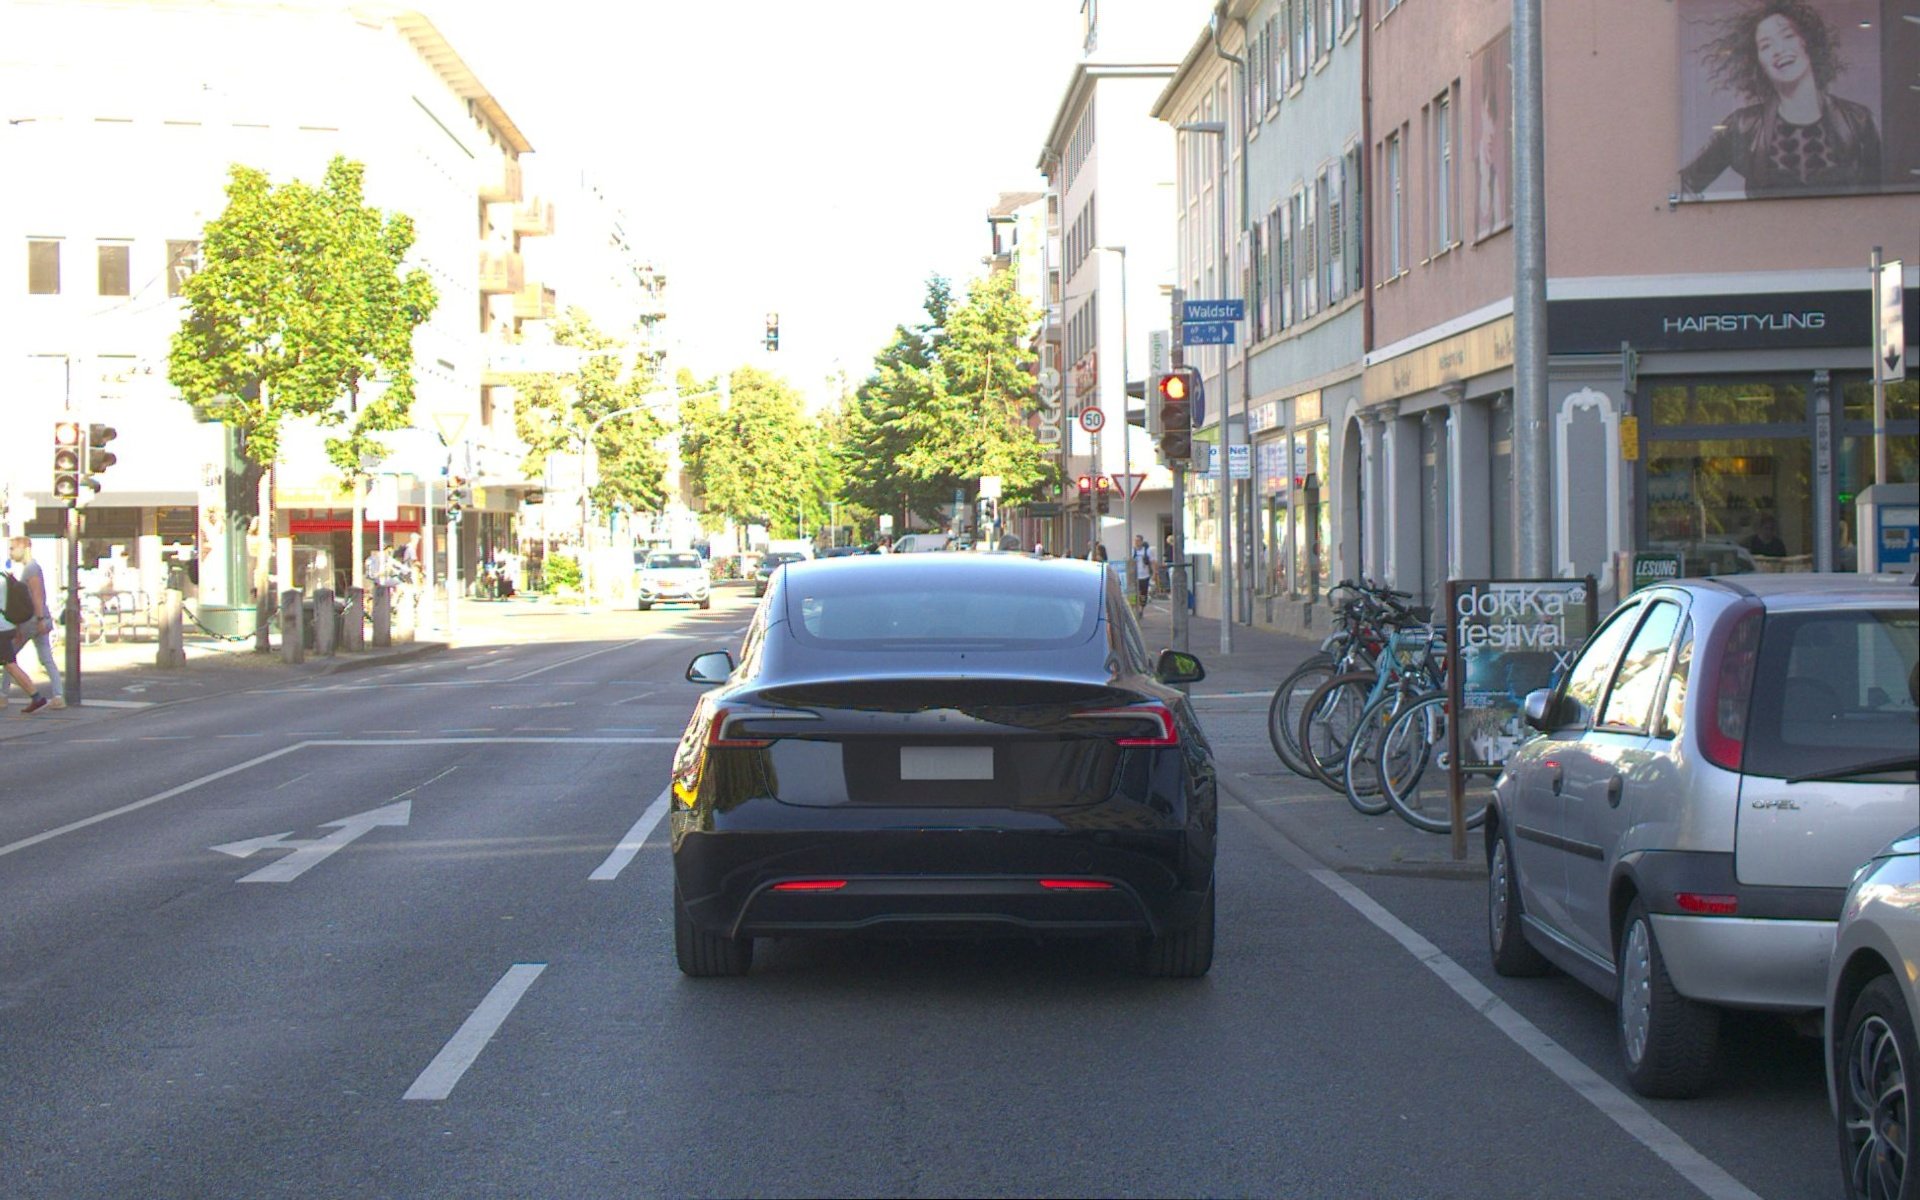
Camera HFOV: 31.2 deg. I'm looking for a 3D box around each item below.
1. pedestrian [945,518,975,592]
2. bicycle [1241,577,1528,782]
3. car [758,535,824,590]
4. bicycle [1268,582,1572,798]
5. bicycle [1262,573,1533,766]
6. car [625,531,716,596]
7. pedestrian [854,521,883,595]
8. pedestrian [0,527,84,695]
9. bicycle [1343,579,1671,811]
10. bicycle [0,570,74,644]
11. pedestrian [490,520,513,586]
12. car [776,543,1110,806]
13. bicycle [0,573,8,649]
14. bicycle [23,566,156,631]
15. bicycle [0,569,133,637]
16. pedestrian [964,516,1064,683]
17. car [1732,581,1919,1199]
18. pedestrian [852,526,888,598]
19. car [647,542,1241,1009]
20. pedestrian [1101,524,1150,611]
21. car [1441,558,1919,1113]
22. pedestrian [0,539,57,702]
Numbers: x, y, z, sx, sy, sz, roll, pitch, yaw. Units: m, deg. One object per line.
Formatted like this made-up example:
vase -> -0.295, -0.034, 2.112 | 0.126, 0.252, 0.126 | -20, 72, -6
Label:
pedestrian -> 0.006, -1.227, 93.164 | 0.627, 2.007, 0.558 | 1, 1, 24
bicycle -> 2.533, 0.468, 20.594 | 1.627, 1.156, 0.433 | -2, 1, -1
car -> -5.390, -1.203, 109.727 | 2.050, 1.721, 4.654 | 0, 1, -3
bicycle -> 2.607, 0.506, 19.538 | 1.627, 1.156, 0.433 | -2, 1, -1
bicycle -> 2.763, 0.434, 21.768 | 1.628, 1.156, 0.433 | -2, 1, 1
car -> -7.522, -0.972, 89.623 | 1.993, 1.535, 4.000 | -3, 1, 0
pedestrian -> -2.489, -1.139, 93.635 | 0.627, 2.007, 0.558 | 1, 1, 19
pedestrian -> -9.639, 0.108, 35.624 | 0.901, 1.719, 0.744 | 0, 1, 3
bicycle -> 2.883, 0.494, 18.188 | 1.627, 1.156, 0.433 | -2, 1, -1
bicycle -> -14.612, 0.103, 52.264 | 2.082, 1.100, 0.806 | 0, 1, 0
pedestrian -> -13.999, -1.443, 105.048 | 0.626, 2.007, 0.575 | 0, 1, 0
car -> -0.084, 0.381, 20.951 | 1.850, 1.450, 3.786 | 0, 1, 0
bicycle -> -14.928, 0.154, 49.745 | 2.082, 1.100, 0.806 | 0, 1, 0
bicycle -> -14.987, -0.028, 59.233 | 2.082, 1.100, 0.806 | 0, 1, 0
bicycle -> -14.855, 0.046, 57.039 | 2.082, 1.100, 0.806 | 0, 1, 0
pedestrian -> 0.475, -0.010, 29.995 | 0.743, 1.435, 0.582 | 1, 1, 15
car -> 2.738, 0.704, 5.917 | 1.670, 1.422, 4.078 | 0, 1, -4
pedestrian -> -2.524, -1.055, 96.240 | 0.750, 2.007, 0.798 | 0, 1, -26
car -> -0.040, 0.516, 12.630 | 1.850, 1.450, 3.786 | 0, 1, 0
pedestrian -> 3.522, -0.686, 73.173 | 0.999, 1.844, 0.615 | 0, 1, -1
car -> 2.570, 0.578, 10.687 | 1.622, 1.389, 3.886 | 0, 1, 0
pedestrian -> -9.759, 0.202, 34.869 | 0.986, 1.631, 0.737 | 0, 1, 3
